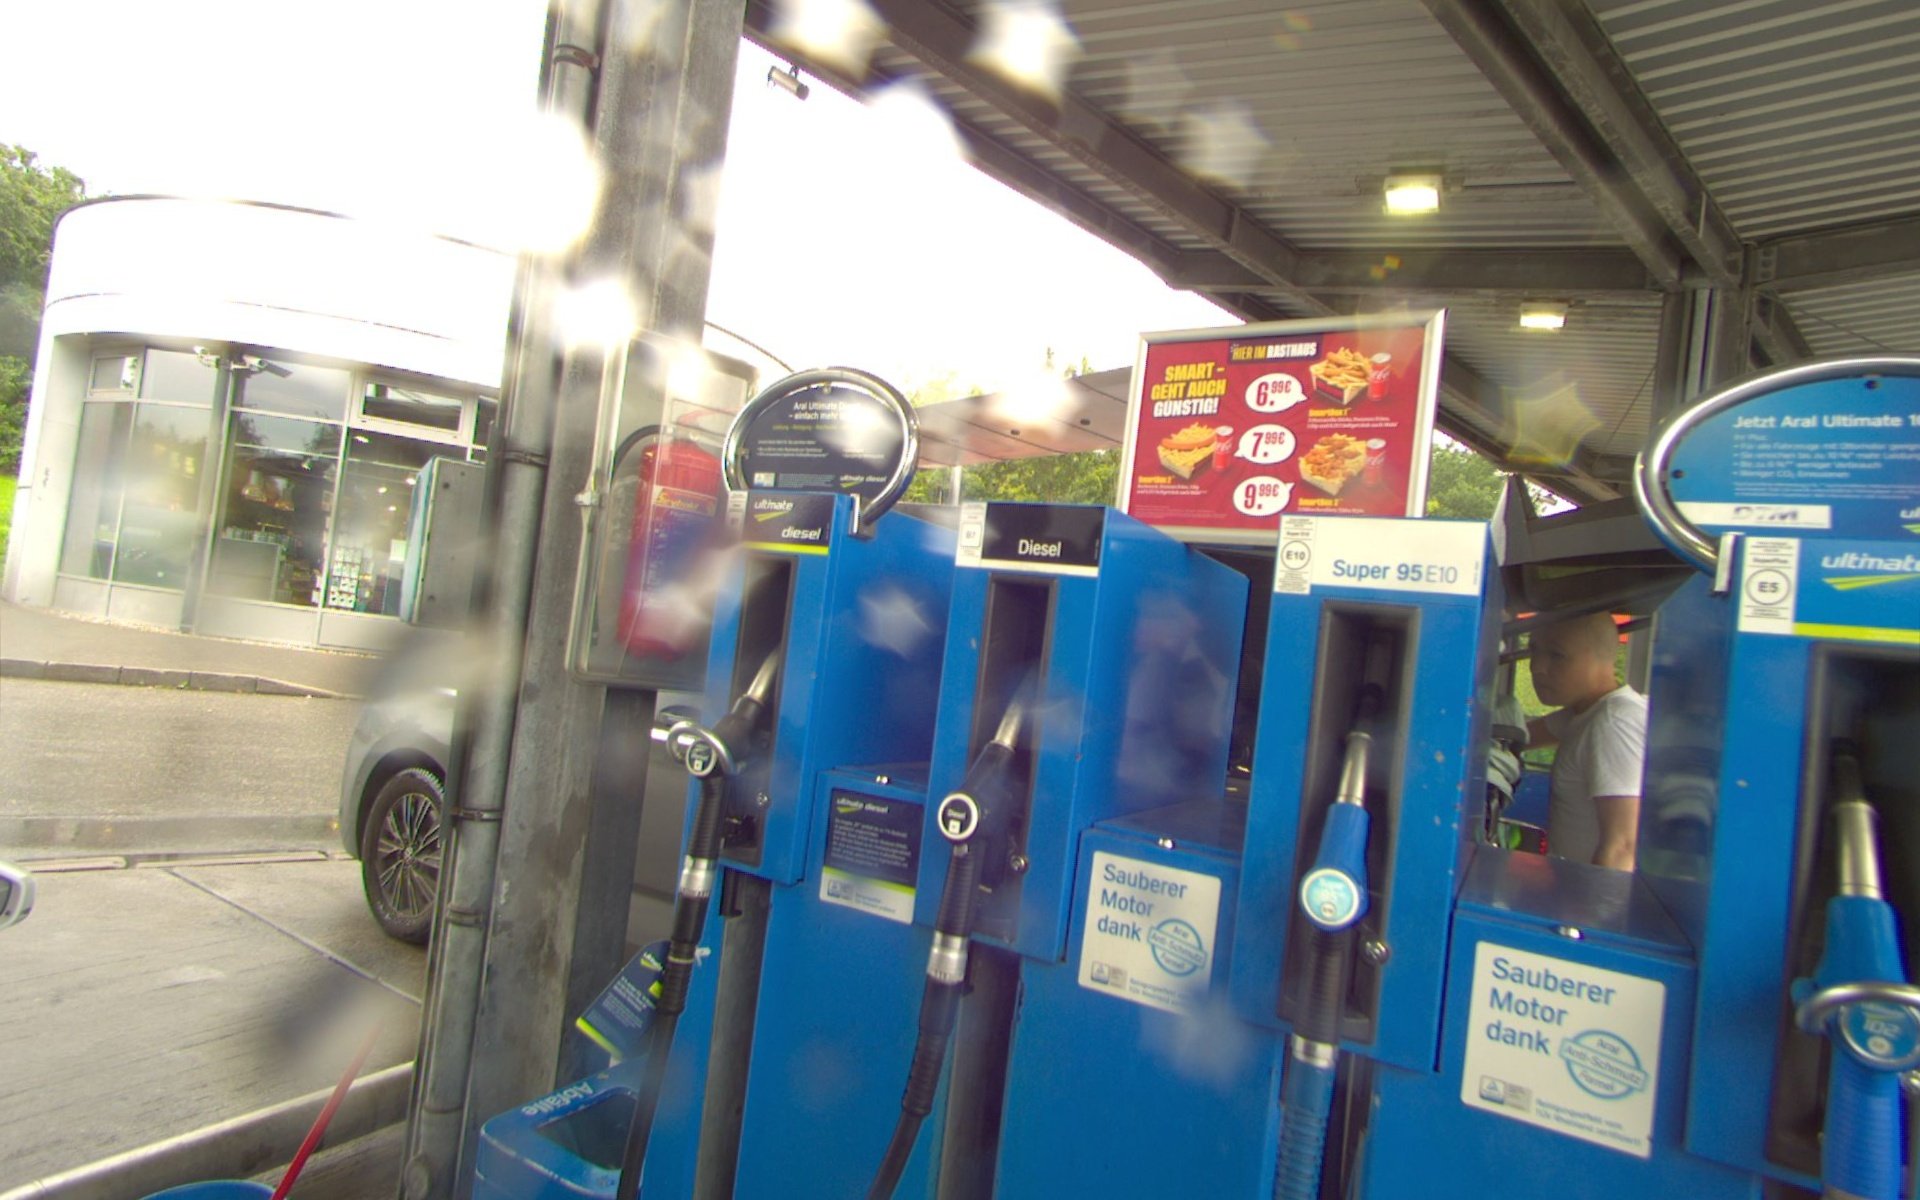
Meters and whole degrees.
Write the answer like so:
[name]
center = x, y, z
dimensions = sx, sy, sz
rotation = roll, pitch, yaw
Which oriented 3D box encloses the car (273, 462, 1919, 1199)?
[car]
center = -0.156, 0.645, 3.684
dimensions = 5.055, 1.819, 1.865
rotation = 6, -2, 32
